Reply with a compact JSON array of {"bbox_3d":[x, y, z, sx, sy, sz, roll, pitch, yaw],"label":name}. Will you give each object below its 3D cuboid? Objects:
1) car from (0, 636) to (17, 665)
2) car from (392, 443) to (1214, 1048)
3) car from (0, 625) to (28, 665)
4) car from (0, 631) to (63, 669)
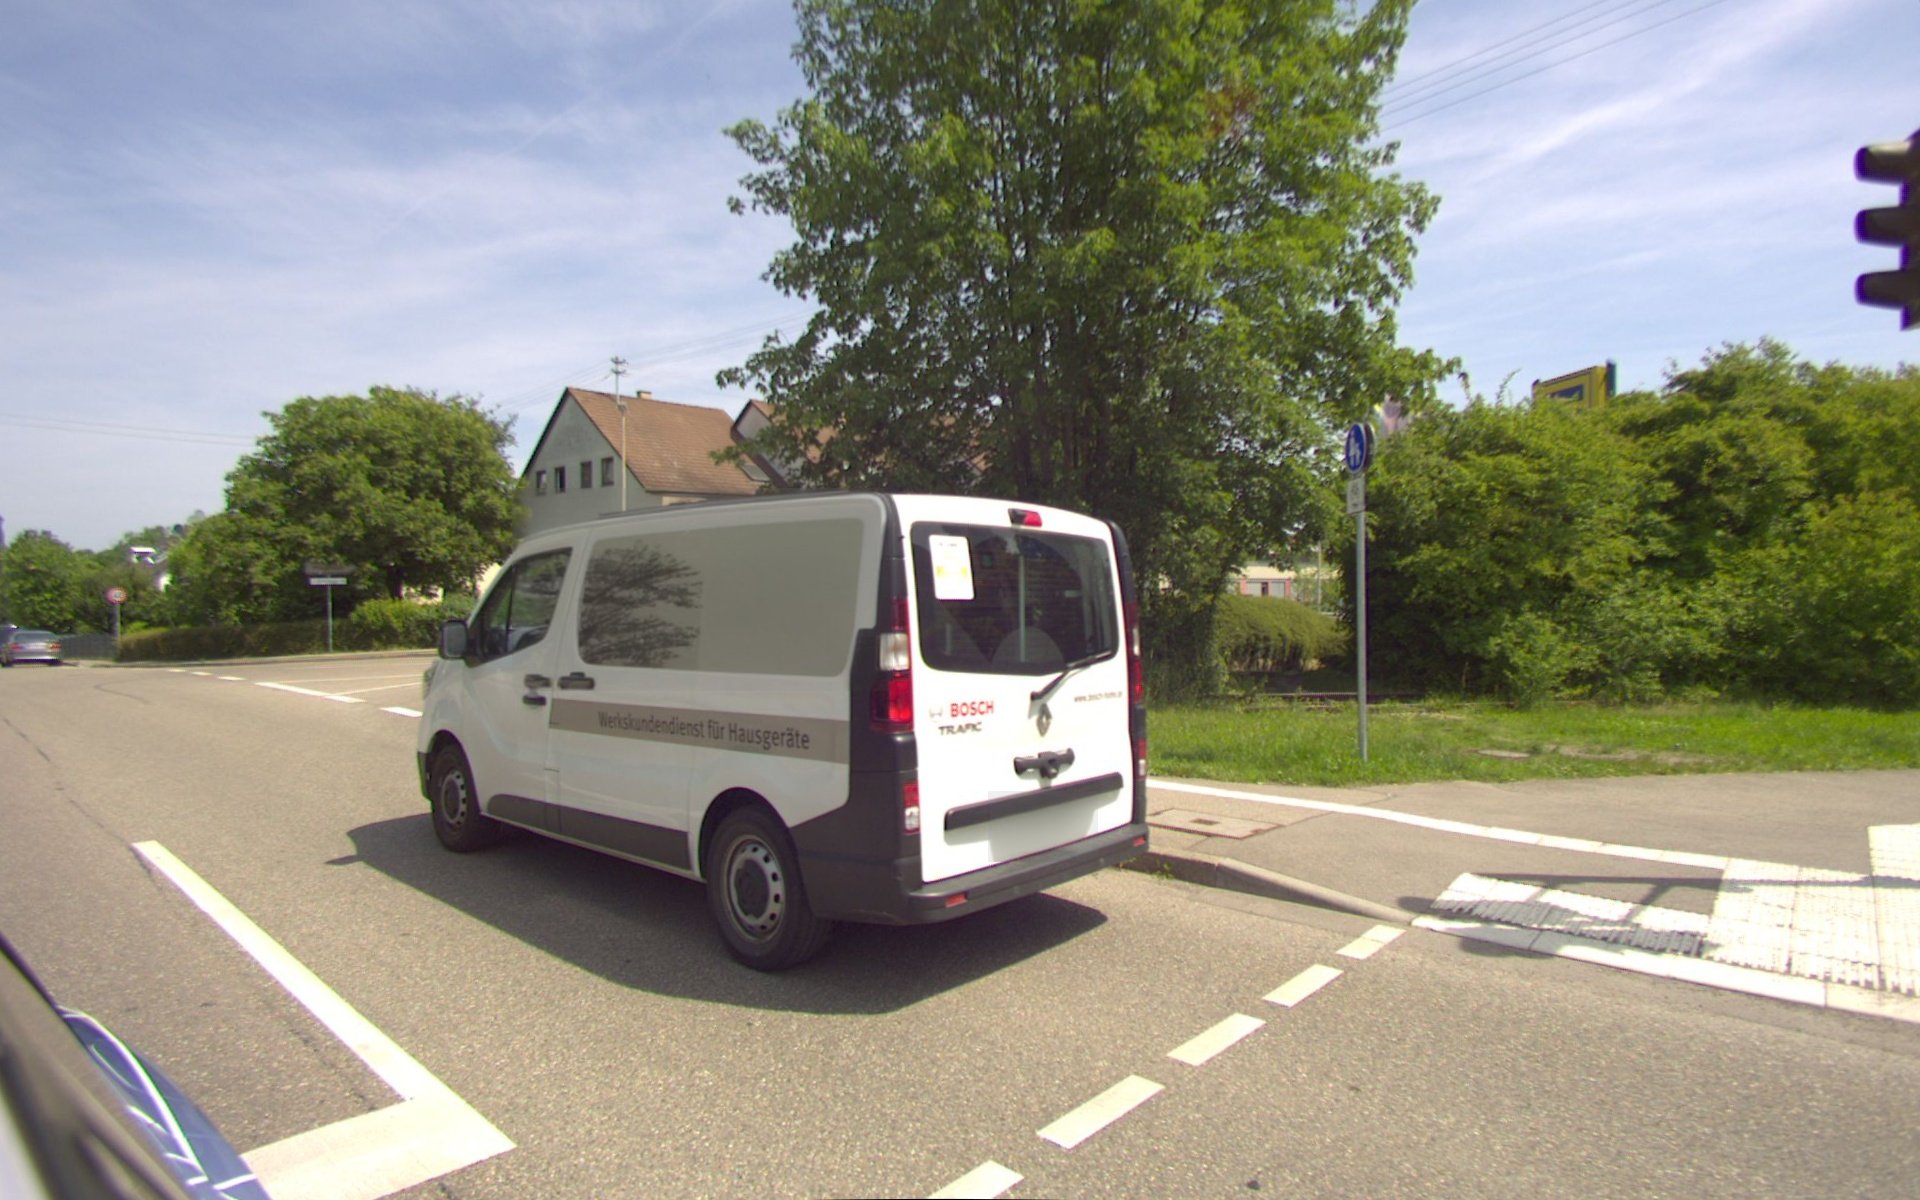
[{"bbox_3d":[-54.797,2.924,57.201,4.241,1.561,1.792,-4,-2,41],"label":"car"},{"bbox_3d":[-1.257,0.508,5.656,4.901,1.980,1.859,-1,-1,42],"label":"car"},{"bbox_3d":[-49.347,2.332,51.774,4.867,1.935,1.877,-4,-4,41],"label":"car"},{"bbox_3d":[-36.923,1.957,40.038,4.409,1.405,1.760,-3,-2,43],"label":"car"}]
